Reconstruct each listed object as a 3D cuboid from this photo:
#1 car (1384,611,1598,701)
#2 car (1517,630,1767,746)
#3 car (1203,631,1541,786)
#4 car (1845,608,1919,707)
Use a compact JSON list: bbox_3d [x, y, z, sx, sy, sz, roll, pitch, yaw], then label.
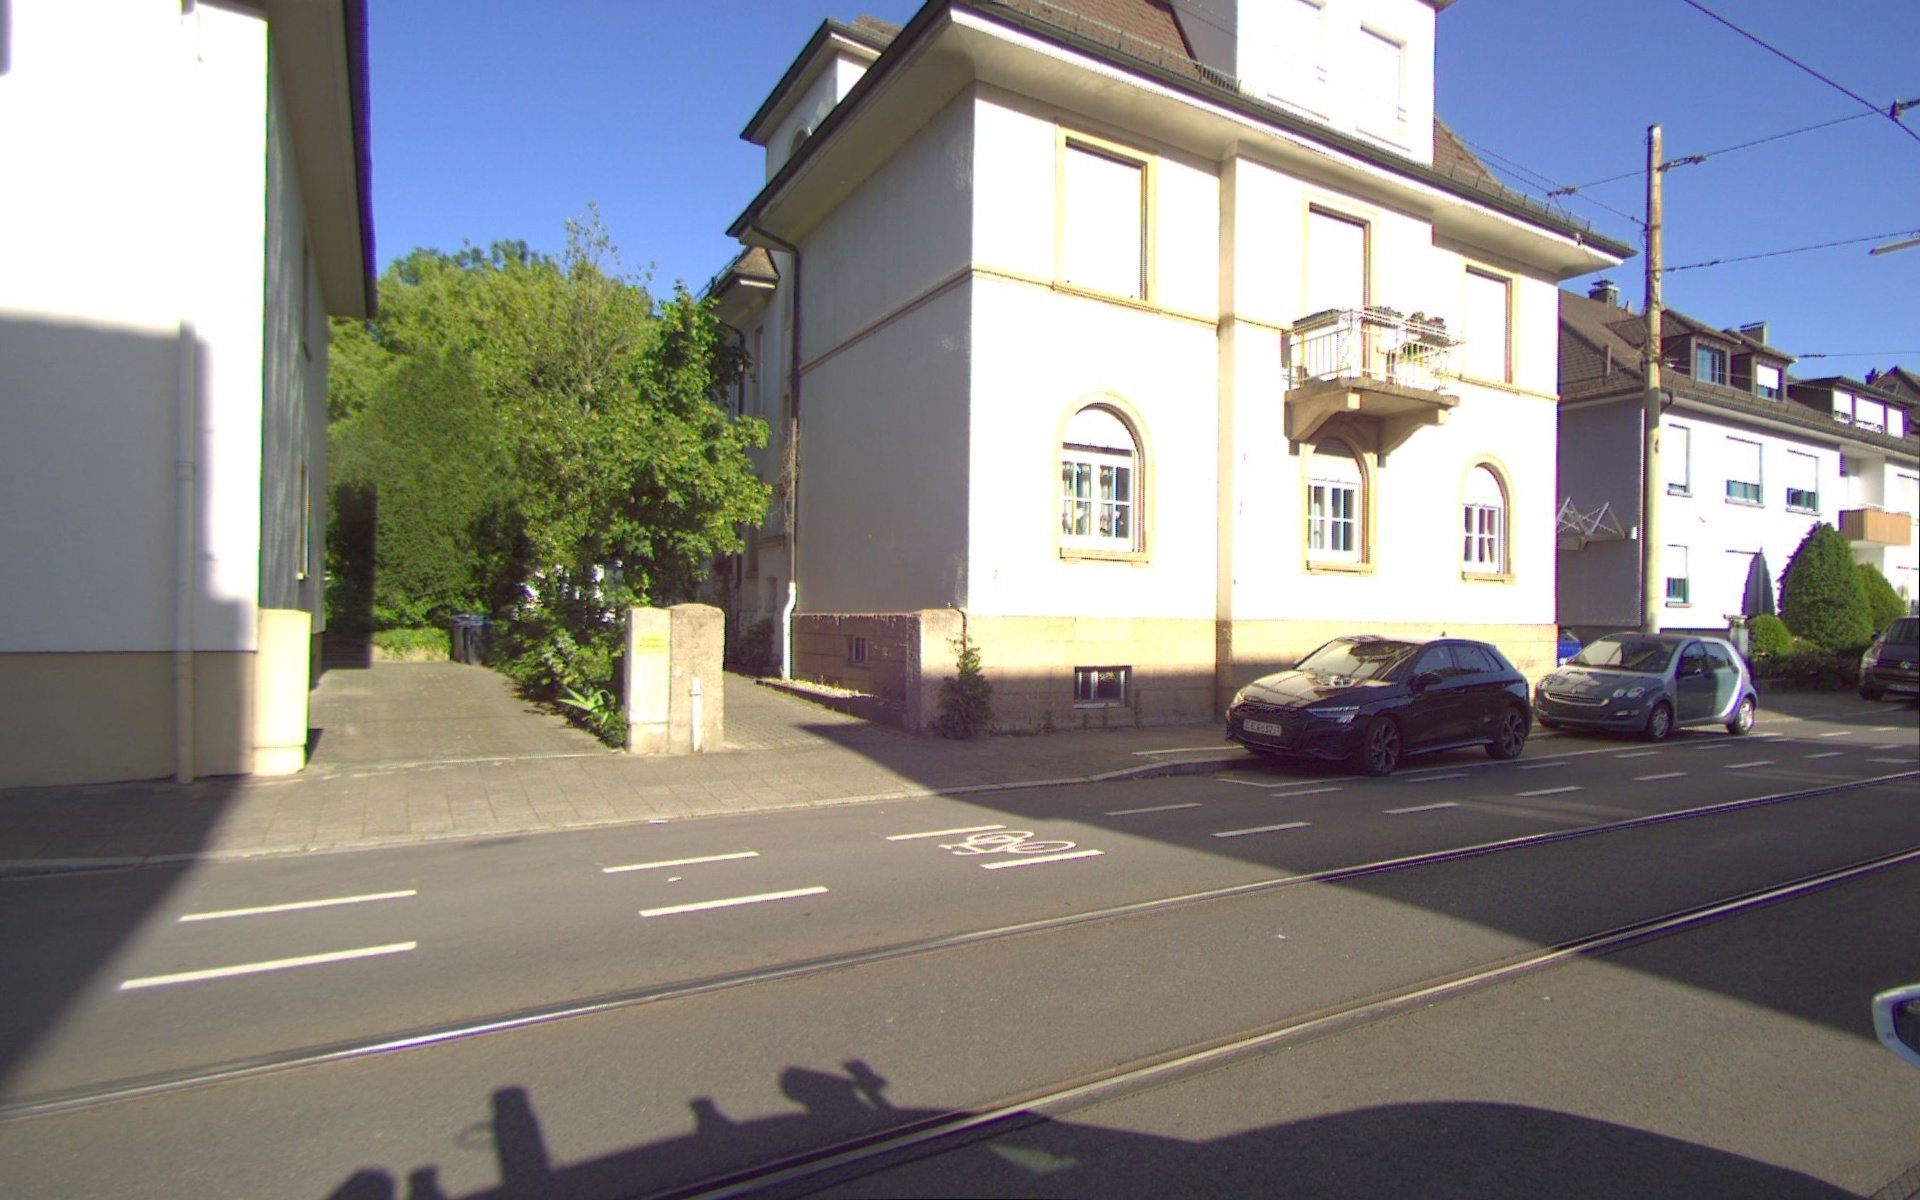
[{"bbox_3d":[11.667,1.163,22.318,1.735,1.807,3.905,1,-1,-31],"label":"car"},{"bbox_3d":[10.413,1.250,15.292,3.790,1.497,1.668,1,1,-30],"label":"car"},{"bbox_3d":[4.922,1.126,11.795,4.207,1.497,1.652,1,-1,-34],"label":"car"},{"bbox_3d":[22.236,1.266,22.624,4.889,2.041,1.897,1,1,-29],"label":"car"}]
